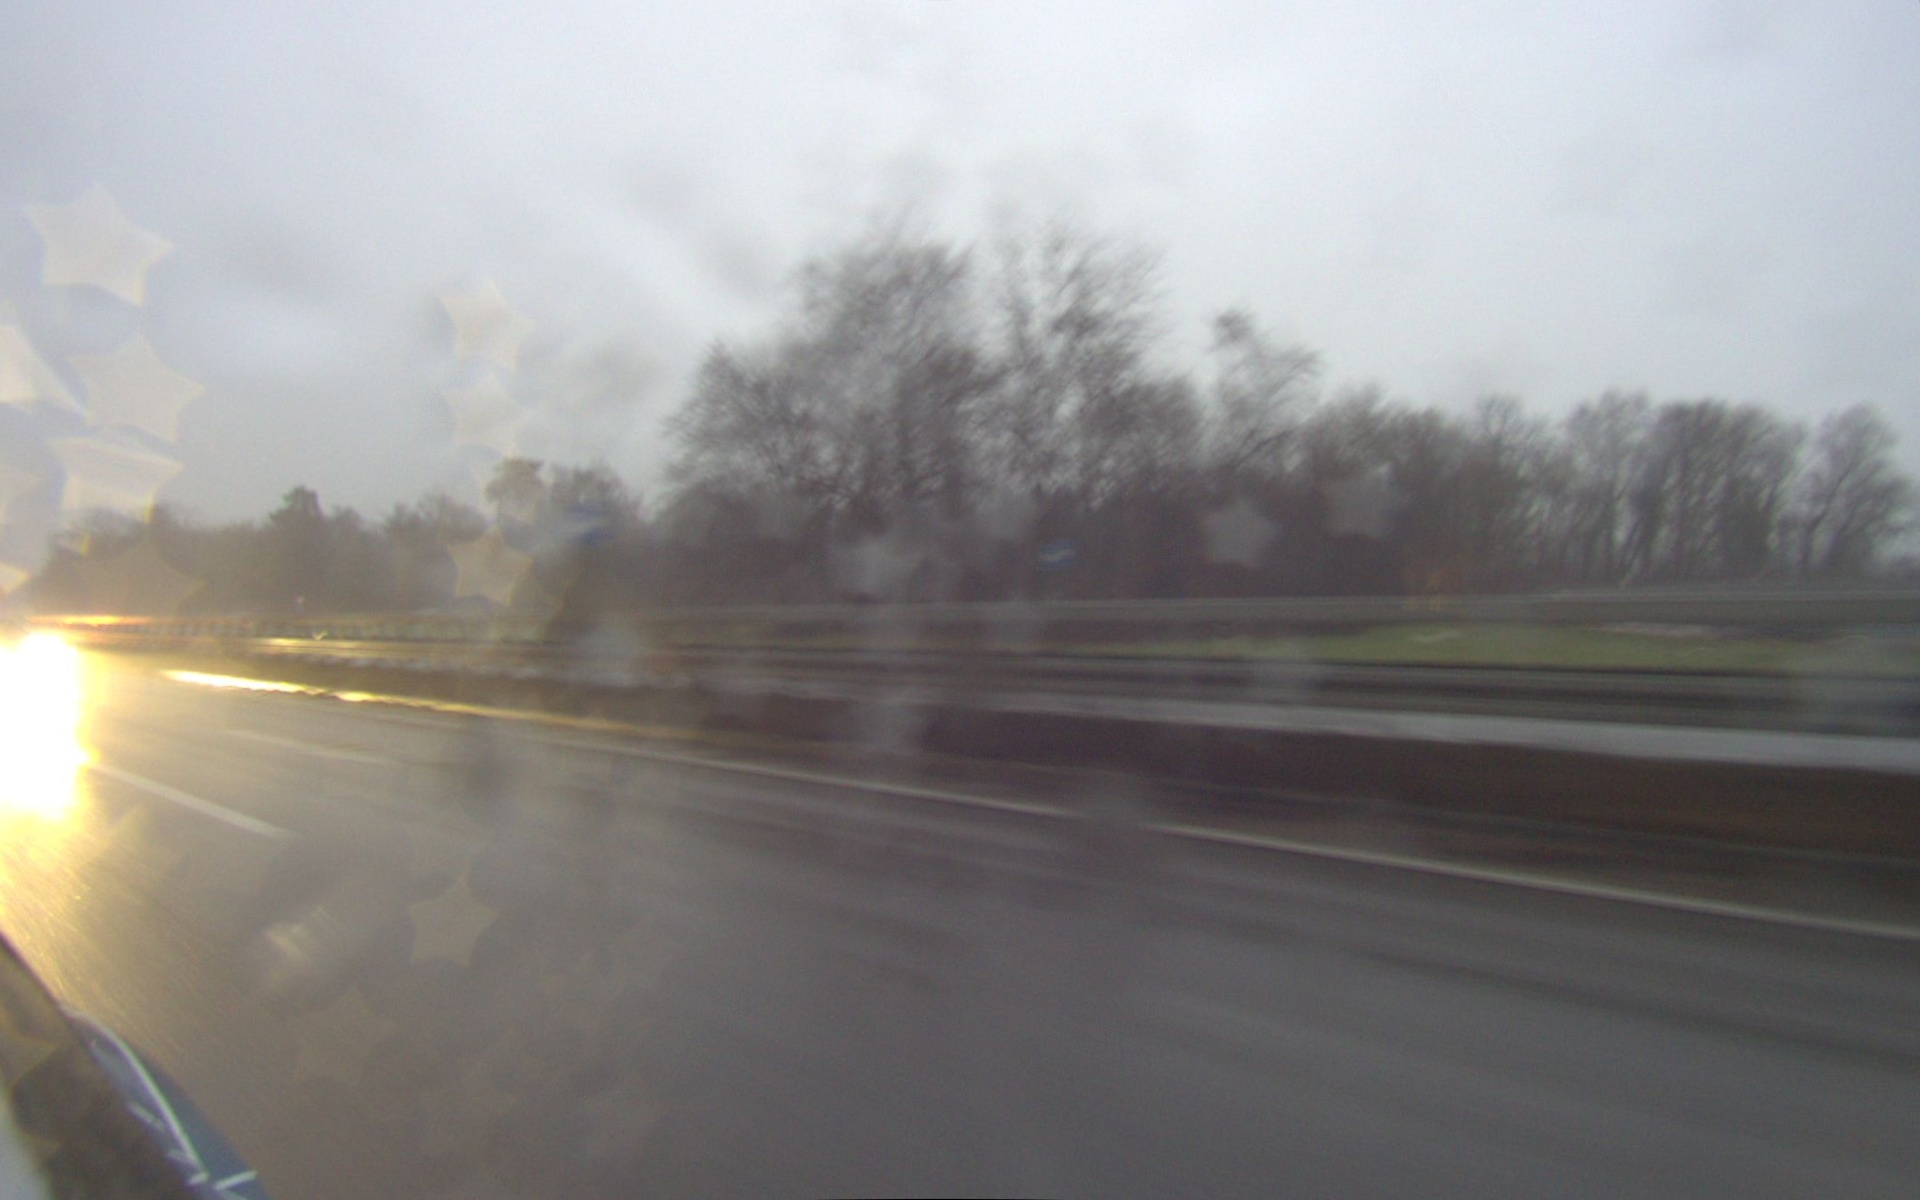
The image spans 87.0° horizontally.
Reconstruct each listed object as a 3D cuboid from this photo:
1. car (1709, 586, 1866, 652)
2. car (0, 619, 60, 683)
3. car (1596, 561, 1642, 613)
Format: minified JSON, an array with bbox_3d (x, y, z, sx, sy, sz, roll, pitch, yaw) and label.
[{"bbox_3d":[25.002,0.526,30.782,1.727,1.829,3.993,-1,1,6],"label":"car"},{"bbox_3d":[-24.351,1.259,25.463,4.407,1.479,1.781,-1,1,38],"label":"car"},{"bbox_3d":[41.970,-0.873,64.512,1.991,2.021,3.977,-4,17,28],"label":"car"}]
